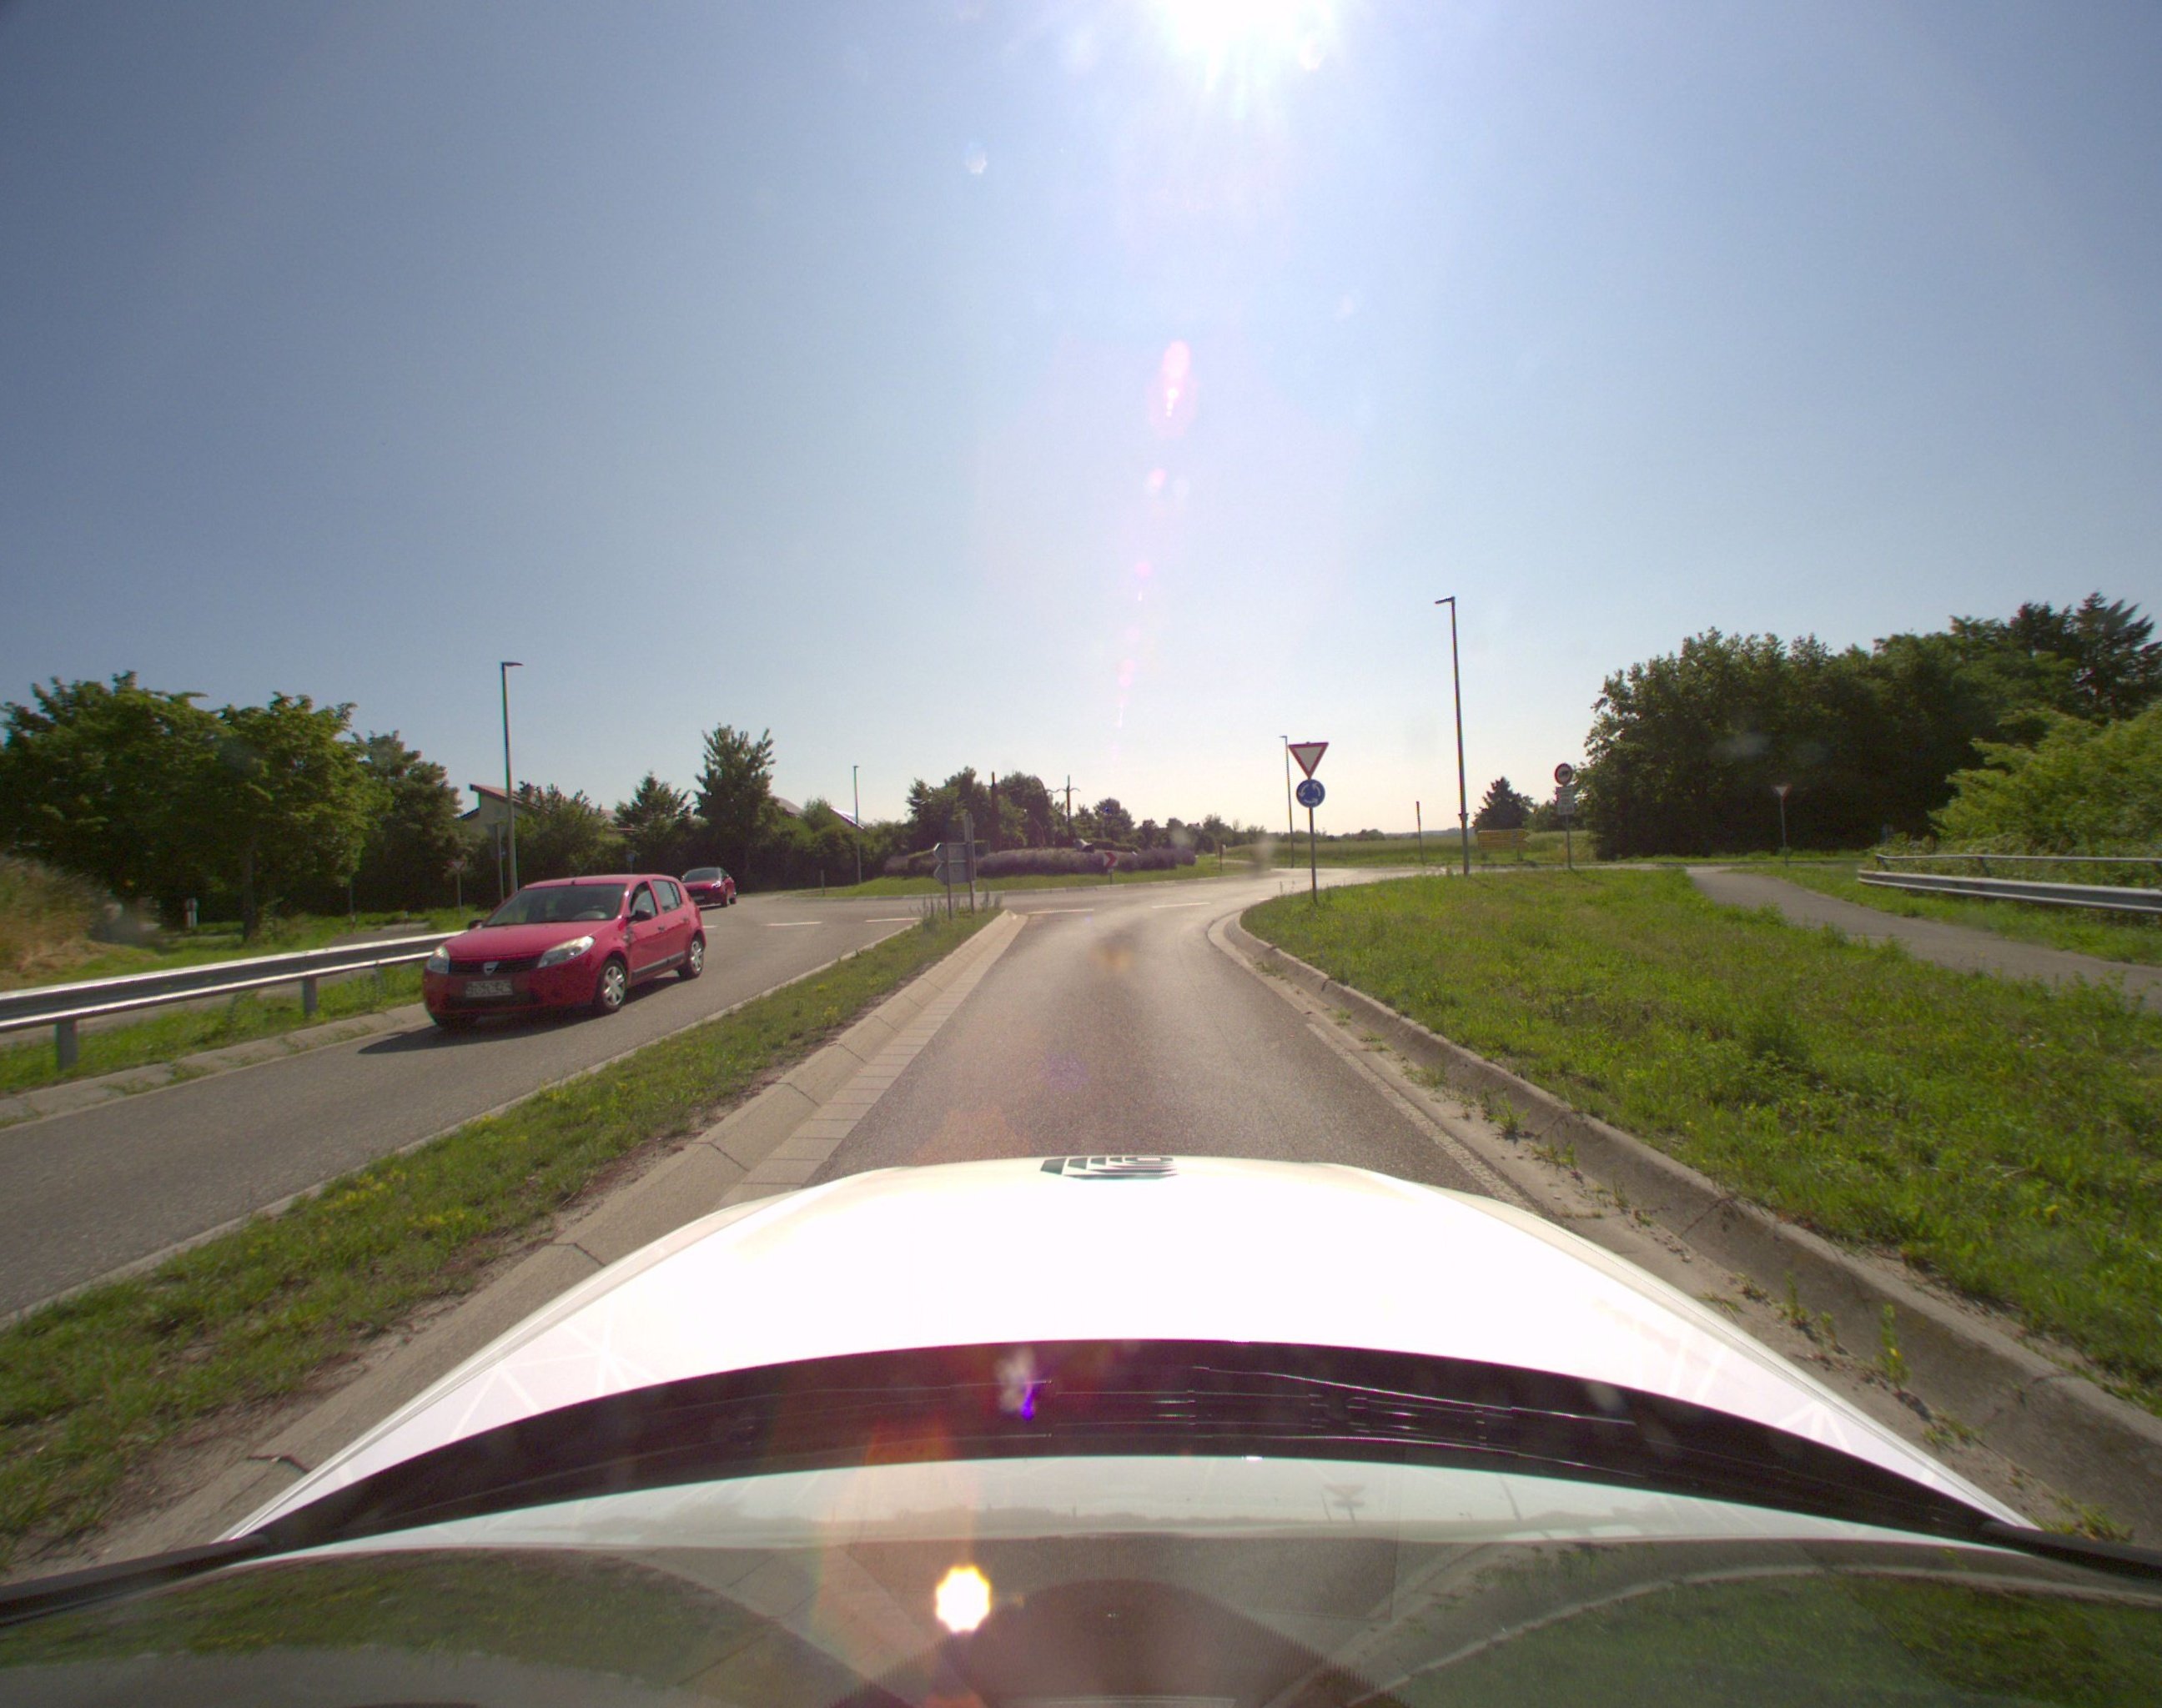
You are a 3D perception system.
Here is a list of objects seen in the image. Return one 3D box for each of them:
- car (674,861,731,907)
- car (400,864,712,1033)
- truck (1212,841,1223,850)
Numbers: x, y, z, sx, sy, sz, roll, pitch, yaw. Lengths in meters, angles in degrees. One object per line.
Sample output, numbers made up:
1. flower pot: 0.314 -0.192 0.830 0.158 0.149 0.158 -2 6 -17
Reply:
1. car: -14.491 1.088 31.071 1.754 1.522 3.797 -5 1 -27
2. car: -5.970 0.937 9.857 1.626 1.491 3.792 -4 0 -8
3. truck: 32.415 -1.976 192.811 1.978 2.013 4.018 -2 1 17
